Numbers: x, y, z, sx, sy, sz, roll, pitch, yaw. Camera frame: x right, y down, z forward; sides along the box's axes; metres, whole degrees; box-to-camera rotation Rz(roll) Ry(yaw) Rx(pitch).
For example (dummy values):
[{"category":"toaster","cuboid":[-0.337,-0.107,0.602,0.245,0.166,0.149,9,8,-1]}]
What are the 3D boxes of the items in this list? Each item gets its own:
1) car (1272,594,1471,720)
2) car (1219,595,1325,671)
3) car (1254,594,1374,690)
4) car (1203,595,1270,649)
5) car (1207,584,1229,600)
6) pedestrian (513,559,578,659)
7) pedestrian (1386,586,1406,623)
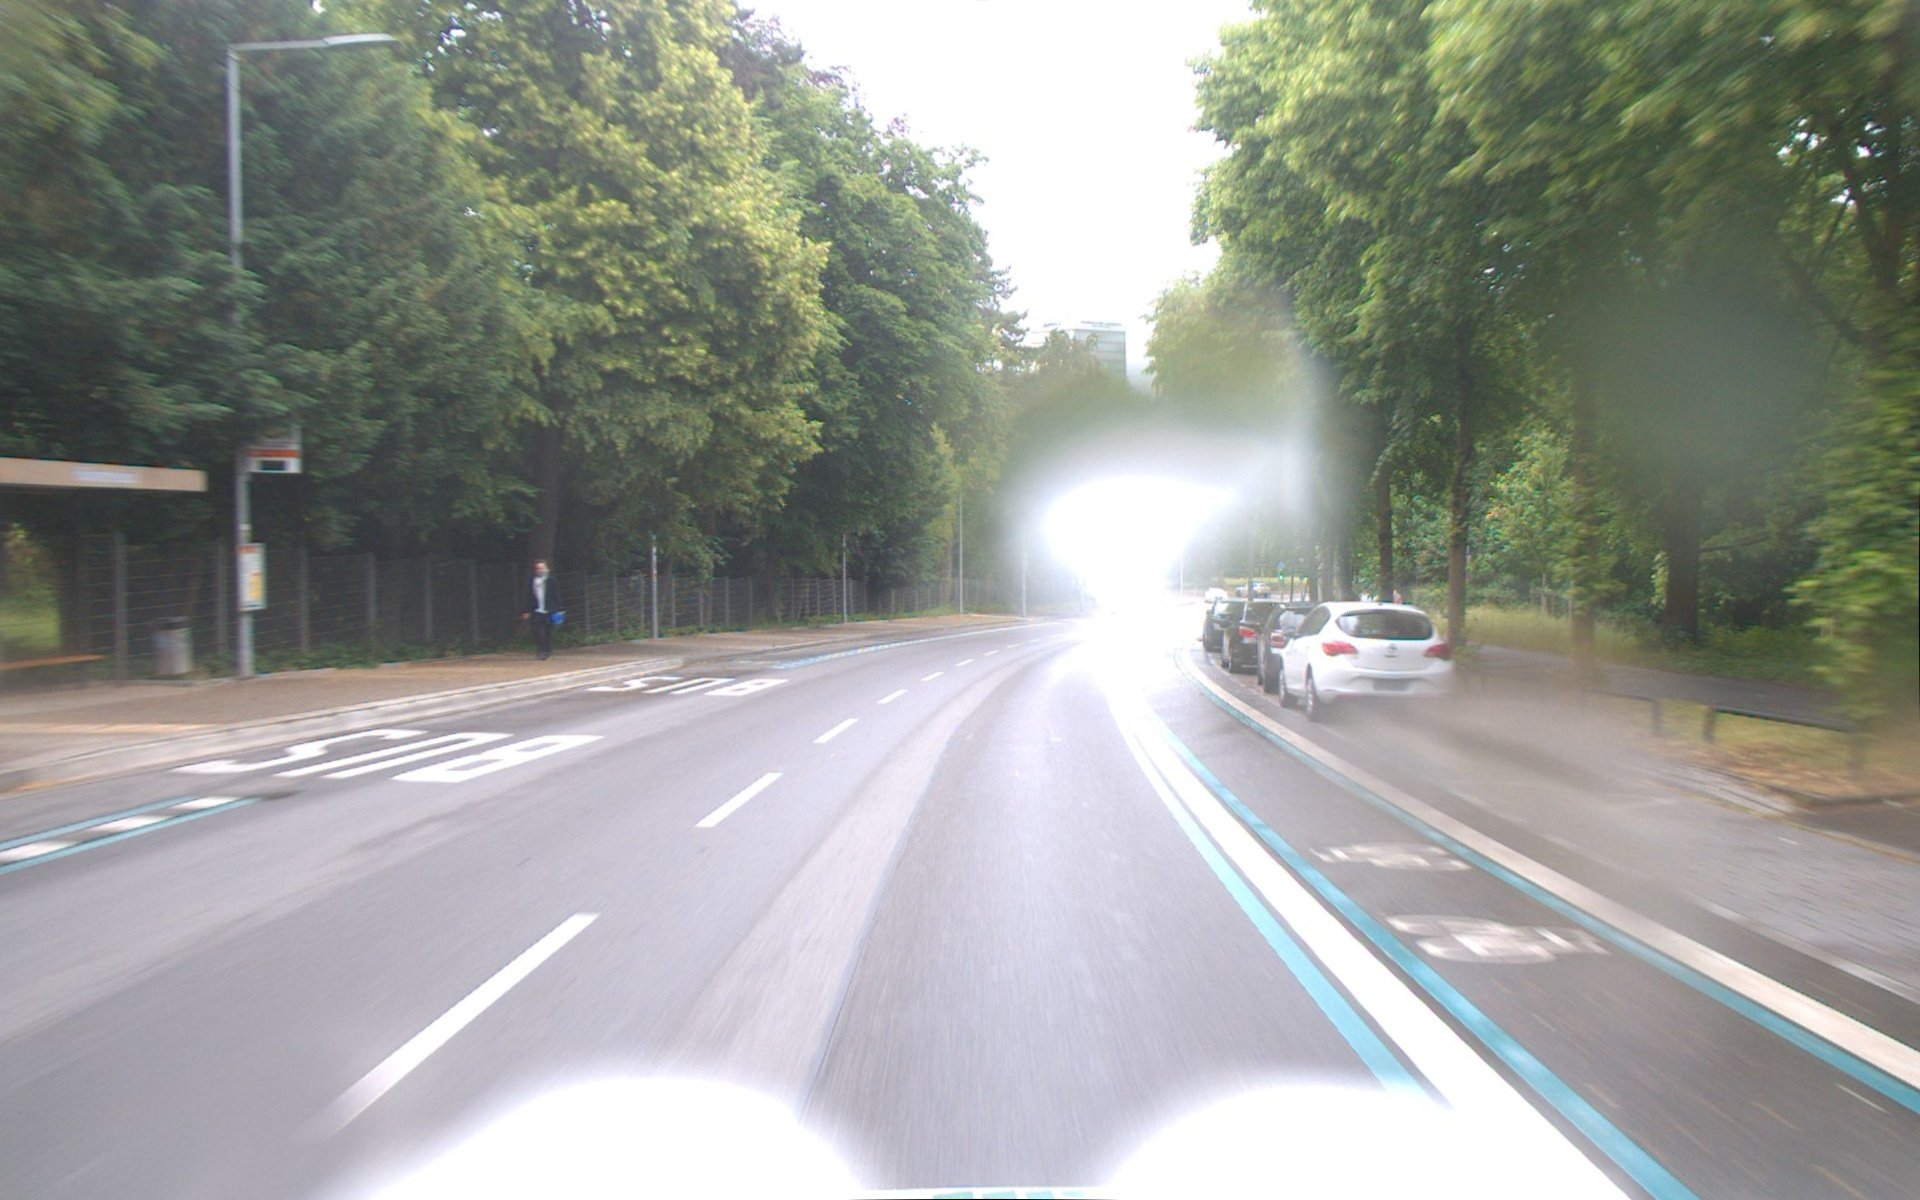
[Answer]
[{"category":"car","cuboid":[5.353,0.676,22.100,1.820,1.453,4.652,2,0,5]},{"category":"car","cuboid":[6.533,0.649,35.071,1.744,1.432,4.848,2,0,5]},{"category":"car","cuboid":[5.938,0.667,28.124,1.647,1.453,4.321,2,0,8]},{"category":"car","cuboid":[8.113,0.610,48.899,1.663,1.445,4.767,2,0,7]},{"category":"car","cuboid":[26.026,-0.822,167.020,1.804,1.482,4.504,1,2,14]},{"category":"pedestrian","cuboid":[-7.473,0.159,29.869,0.869,1.763,1.146,1,0,0]},{"category":"pedestrian","cuboid":[20.957,0.226,79.500,0.868,1.763,1.147,1,0,13]}]
